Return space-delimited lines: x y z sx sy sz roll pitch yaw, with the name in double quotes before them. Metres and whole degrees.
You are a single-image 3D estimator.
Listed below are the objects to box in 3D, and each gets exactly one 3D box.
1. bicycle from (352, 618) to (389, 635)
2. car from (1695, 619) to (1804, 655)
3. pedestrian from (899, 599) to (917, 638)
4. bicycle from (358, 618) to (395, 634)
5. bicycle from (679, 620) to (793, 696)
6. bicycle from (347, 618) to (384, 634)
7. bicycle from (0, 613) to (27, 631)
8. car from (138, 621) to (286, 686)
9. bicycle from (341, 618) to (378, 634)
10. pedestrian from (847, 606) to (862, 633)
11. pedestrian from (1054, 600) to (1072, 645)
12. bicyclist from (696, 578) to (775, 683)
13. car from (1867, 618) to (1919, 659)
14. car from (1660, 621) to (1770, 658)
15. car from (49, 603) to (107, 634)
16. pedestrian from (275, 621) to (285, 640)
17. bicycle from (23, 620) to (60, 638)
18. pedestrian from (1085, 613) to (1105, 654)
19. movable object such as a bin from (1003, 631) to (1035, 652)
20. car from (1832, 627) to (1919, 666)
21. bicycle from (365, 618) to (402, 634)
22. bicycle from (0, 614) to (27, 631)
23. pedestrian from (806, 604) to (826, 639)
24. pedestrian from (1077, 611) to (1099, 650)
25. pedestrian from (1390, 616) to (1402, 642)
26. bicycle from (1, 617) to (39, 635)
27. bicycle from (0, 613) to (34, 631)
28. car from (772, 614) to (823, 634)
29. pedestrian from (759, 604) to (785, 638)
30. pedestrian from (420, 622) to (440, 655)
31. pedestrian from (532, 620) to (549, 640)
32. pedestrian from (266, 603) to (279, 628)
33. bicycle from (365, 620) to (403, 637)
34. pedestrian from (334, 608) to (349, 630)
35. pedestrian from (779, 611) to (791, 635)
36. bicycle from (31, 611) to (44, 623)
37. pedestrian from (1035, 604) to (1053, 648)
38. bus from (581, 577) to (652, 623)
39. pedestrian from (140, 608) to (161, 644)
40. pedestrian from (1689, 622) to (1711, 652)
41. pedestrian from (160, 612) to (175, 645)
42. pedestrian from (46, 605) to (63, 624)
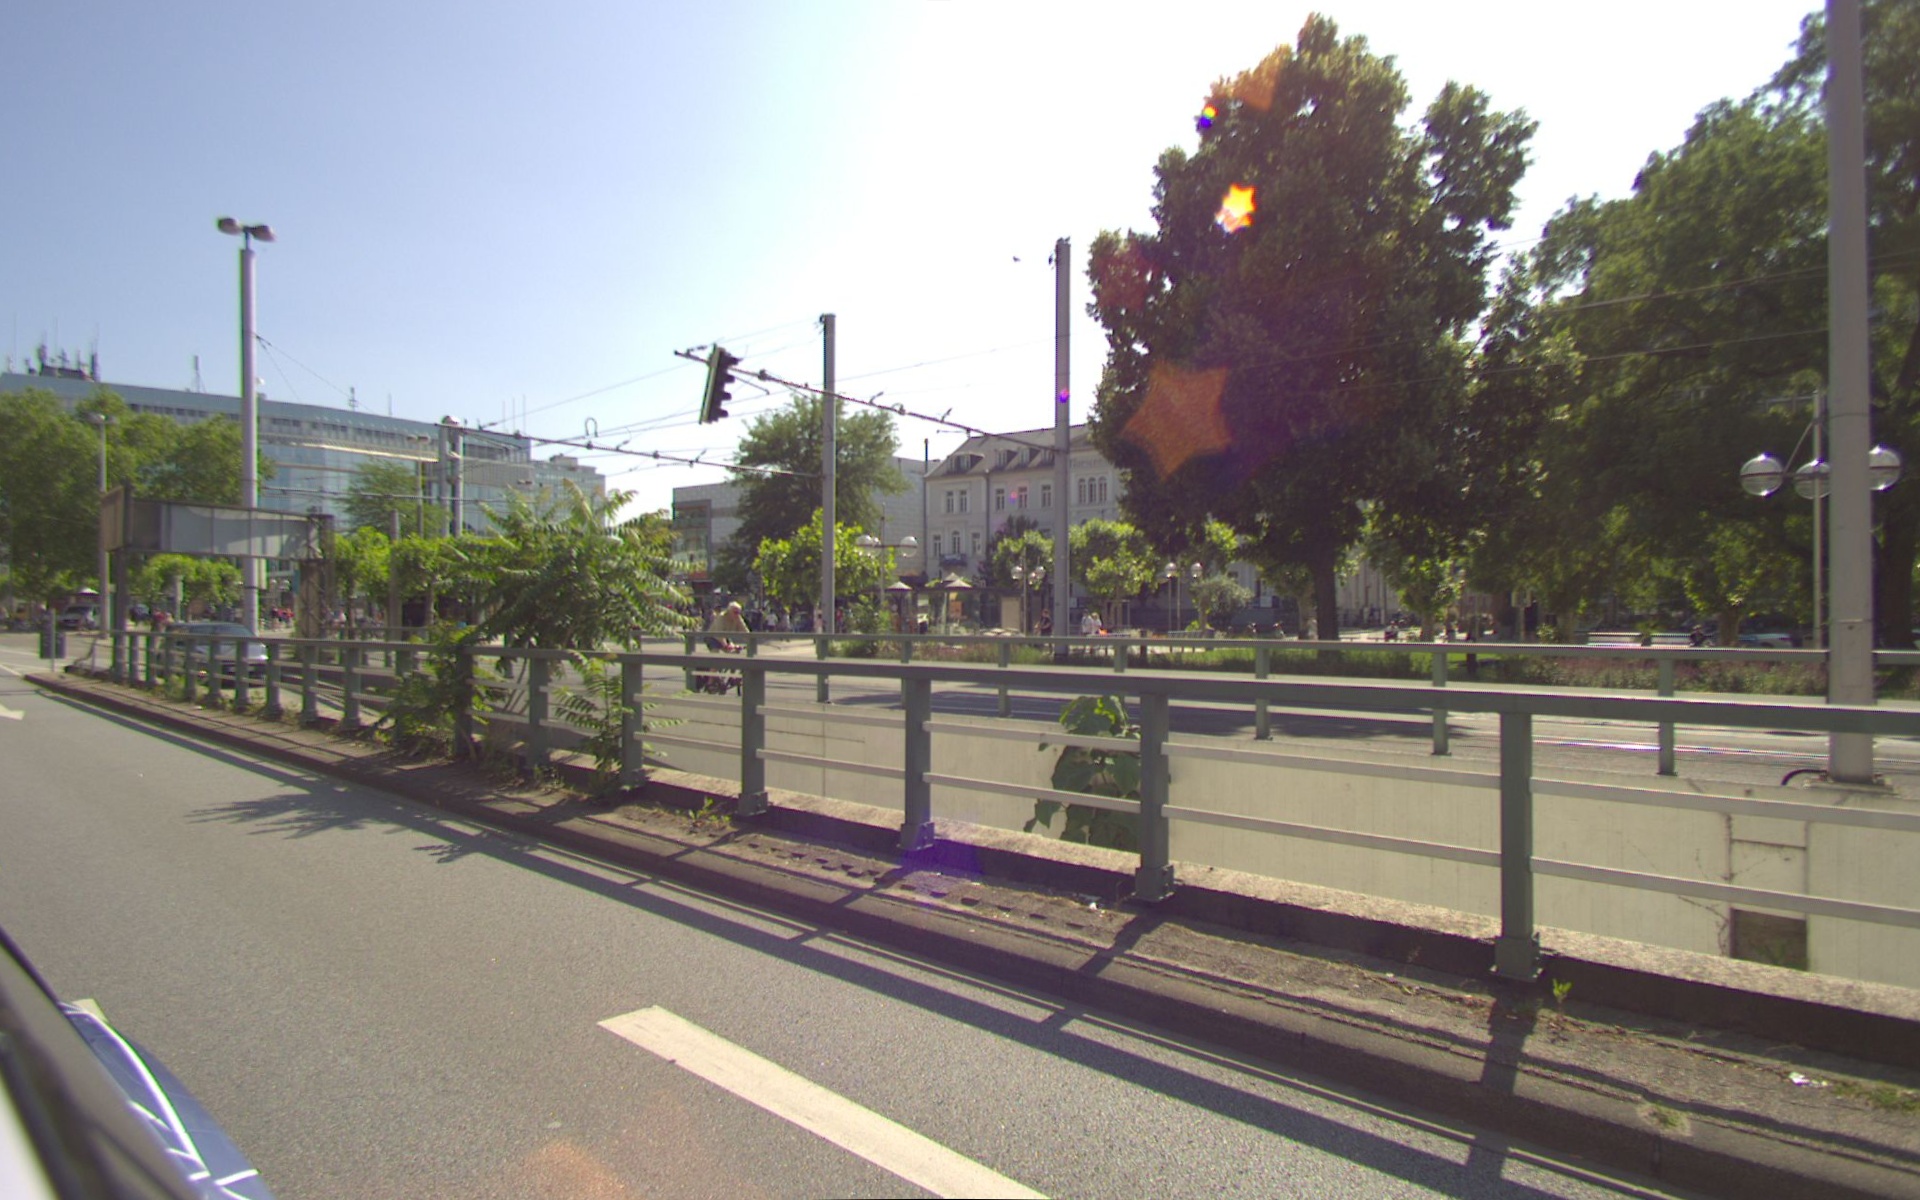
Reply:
"bicycle" -34.838 1.555 59.807 0.544 0.862 1.853 -1 1 28
"car" 37.498 1.733 48.177 3.991 1.519 1.740 0 1 36
"pedestrian" -2.762 0.973 53.551 0.621 2.023 0.736 3 -3 -43
"bicycle" -34.243 1.514 59.431 0.544 0.862 1.853 -1 1 28
"bicycle" -3.619 0.912 16.257 1.873 1.129 0.809 0 -3 42
"bicycle" -35.322 1.564 60.149 0.544 0.862 1.853 -1 1 28
"bicycle" -63.959 1.464 68.032 0.482 1.156 1.735 0 0 39
"car" -18.015 1.261 24.322 3.992 1.415 1.679 -1 -5 36
"bicycle" -35.885 1.544 60.487 0.581 0.878 1.853 -1 1 28
"pedestrian" -6.379 1.169 61.178 0.616 1.611 0.735 0 -3 29
"pedestrian" 3.784 0.837 37.247 0.494 1.621 0.409 -1 -4 39
"bicyclist" -3.606 0.504 16.291 0.902 1.634 0.809 -2 -5 41
"car" 42.855 1.684 44.028 4.834 1.675 1.740 0 1 36
"car" 34.959 1.808 46.997 3.991 1.519 1.740 0 1 36
"car" -62.793 1.295 72.131 1.965 2.029 5.083 -2 1 -28
"pedestrian" -57.097 2.579 85.023 0.448 1.561 0.474 0 -3 15
"bicycle" -60.679 1.894 66.856 0.482 1.156 1.735 0 0 39
"pedestrian" 5.366 1.350 40.290 0.619 1.621 0.488 -1 -4 34
"movable object such as a bin" 2.191 1.531 37.329 0.800 0.760 0.897 -2 -4 41
"car" 40.079 1.990 43.317 3.991 1.519 1.740 0 1 36
"bicycle" -33.664 1.514 59.157 0.579 0.876 1.853 -1 1 28
"bicycle" -63.128 1.486 67.128 0.482 1.156 1.735 0 0 39
"pedestrian" -7.234 1.074 50.756 0.705 1.719 0.670 -1 -1 40
"pedestrian" 4.966 1.193 39.368 0.661 1.504 0.519 -1 -4 39
"pedestrian" 22.063 1.462 51.250 0.525 1.273 0.574 0 -3 20
"bicycle" -61.008 1.679 65.704 0.482 1.156 1.735 0 0 39
"bicycle" -62.204 1.466 66.596 0.482 1.156 1.842 0 0 39
"car" -13.002 1.912 80.846 3.991 1.519 1.740 0 1 36
"pedestrian" -10.383 1.176 55.810 0.953 1.807 1.082 3 -4 -40
"pedestrian" -26.267 1.923 50.141 0.597 1.621 0.573 0 -3 13
"pedestrian" -21.637 1.549 52.217 0.580 1.008 0.627 -2 -4 44
"pedestrian" -49.833 1.116 73.310 0.605 1.830 0.570 -2 -4 41
"bicycle" -32.692 1.599 57.480 0.579 0.876 1.853 -1 1 28
"pedestrian" -41.707 1.285 68.279 0.549 1.477 0.621 0 -3 19
"pedestrian" -9.263 1.201 53.606 0.479 1.273 0.400 0 -3 23
"bicycle" -92.918 1.715 101.936 1.754 1.156 0.586 0 0 34
"pedestrian" 3.125 0.958 37.753 0.465 1.621 0.447 -2 -4 40
"bus" -27.998 -0.059 82.024 3.014 3.445 12.499 -2 1 -30
"pedestrian" -40.610 1.307 50.780 0.581 1.747 0.524 0 -3 11
"pedestrian" 32.215 1.615 44.060 0.657 1.273 0.745 -1 -3 29
"pedestrian" -40.137 1.449 51.262 0.518 1.621 0.627 3 -4 -39
"pedestrian" -68.204 1.106 76.244 0.780 1.418 0.744 -1 1 31
